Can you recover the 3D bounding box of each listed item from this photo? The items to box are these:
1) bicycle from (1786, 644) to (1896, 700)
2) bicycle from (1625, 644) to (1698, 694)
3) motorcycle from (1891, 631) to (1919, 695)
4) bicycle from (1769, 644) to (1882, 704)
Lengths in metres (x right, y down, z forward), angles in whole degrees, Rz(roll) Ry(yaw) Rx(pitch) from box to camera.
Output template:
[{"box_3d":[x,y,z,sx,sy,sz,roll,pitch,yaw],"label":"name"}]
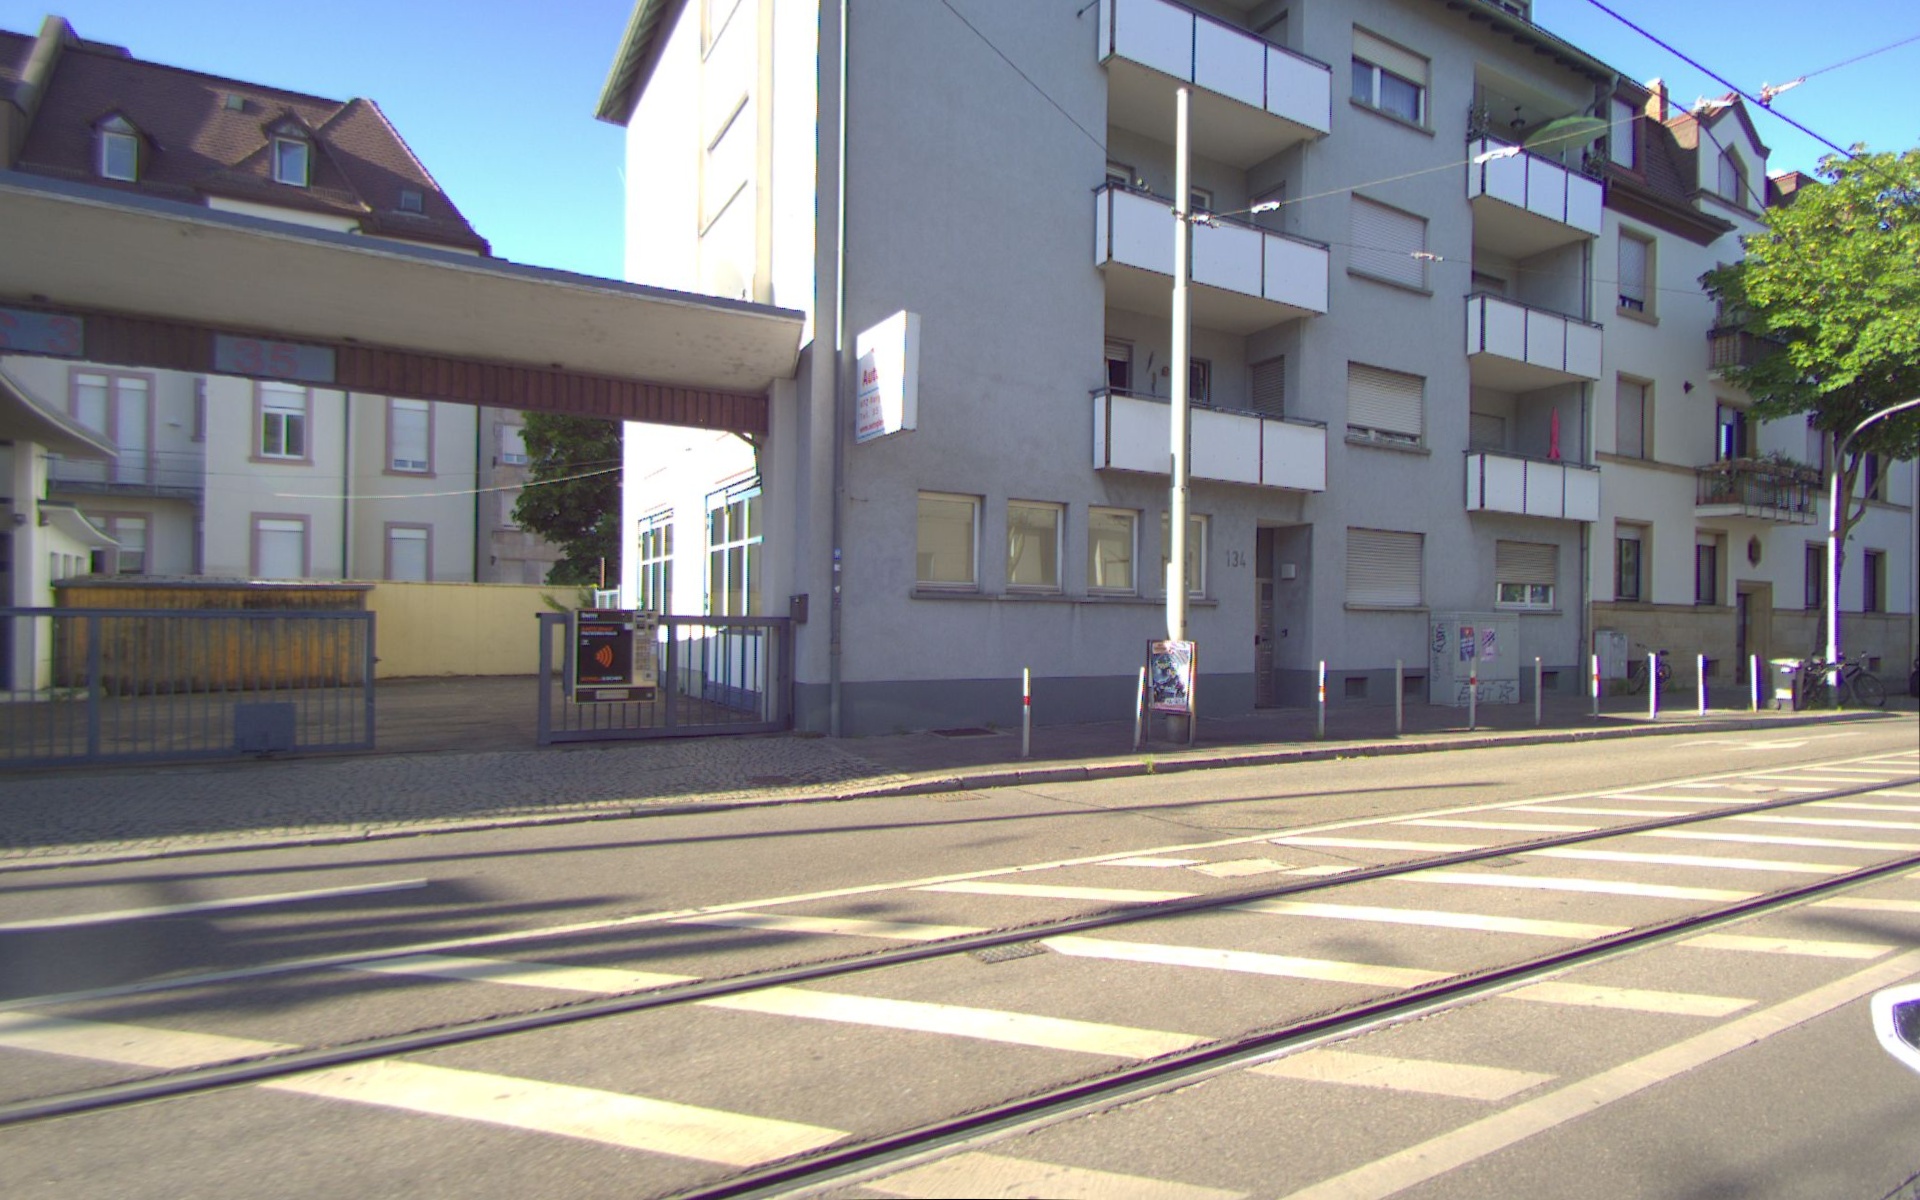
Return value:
[{"box_3d":[18.165,1.466,20.757,1.686,1.047,0.442,1,-1,40],"label":"bicycle"},{"box_3d":[15.117,1.465,21.621,1.996,1.020,0.504,1,-1,-30],"label":"bicycle"},{"box_3d":[24.124,1.516,24.374,3.066,1.501,1.451,1,-2,-31],"label":"motorcycle"},{"box_3d":[16.826,1.423,19.569,1.584,1.058,0.458,1,-1,29],"label":"bicycle"}]
